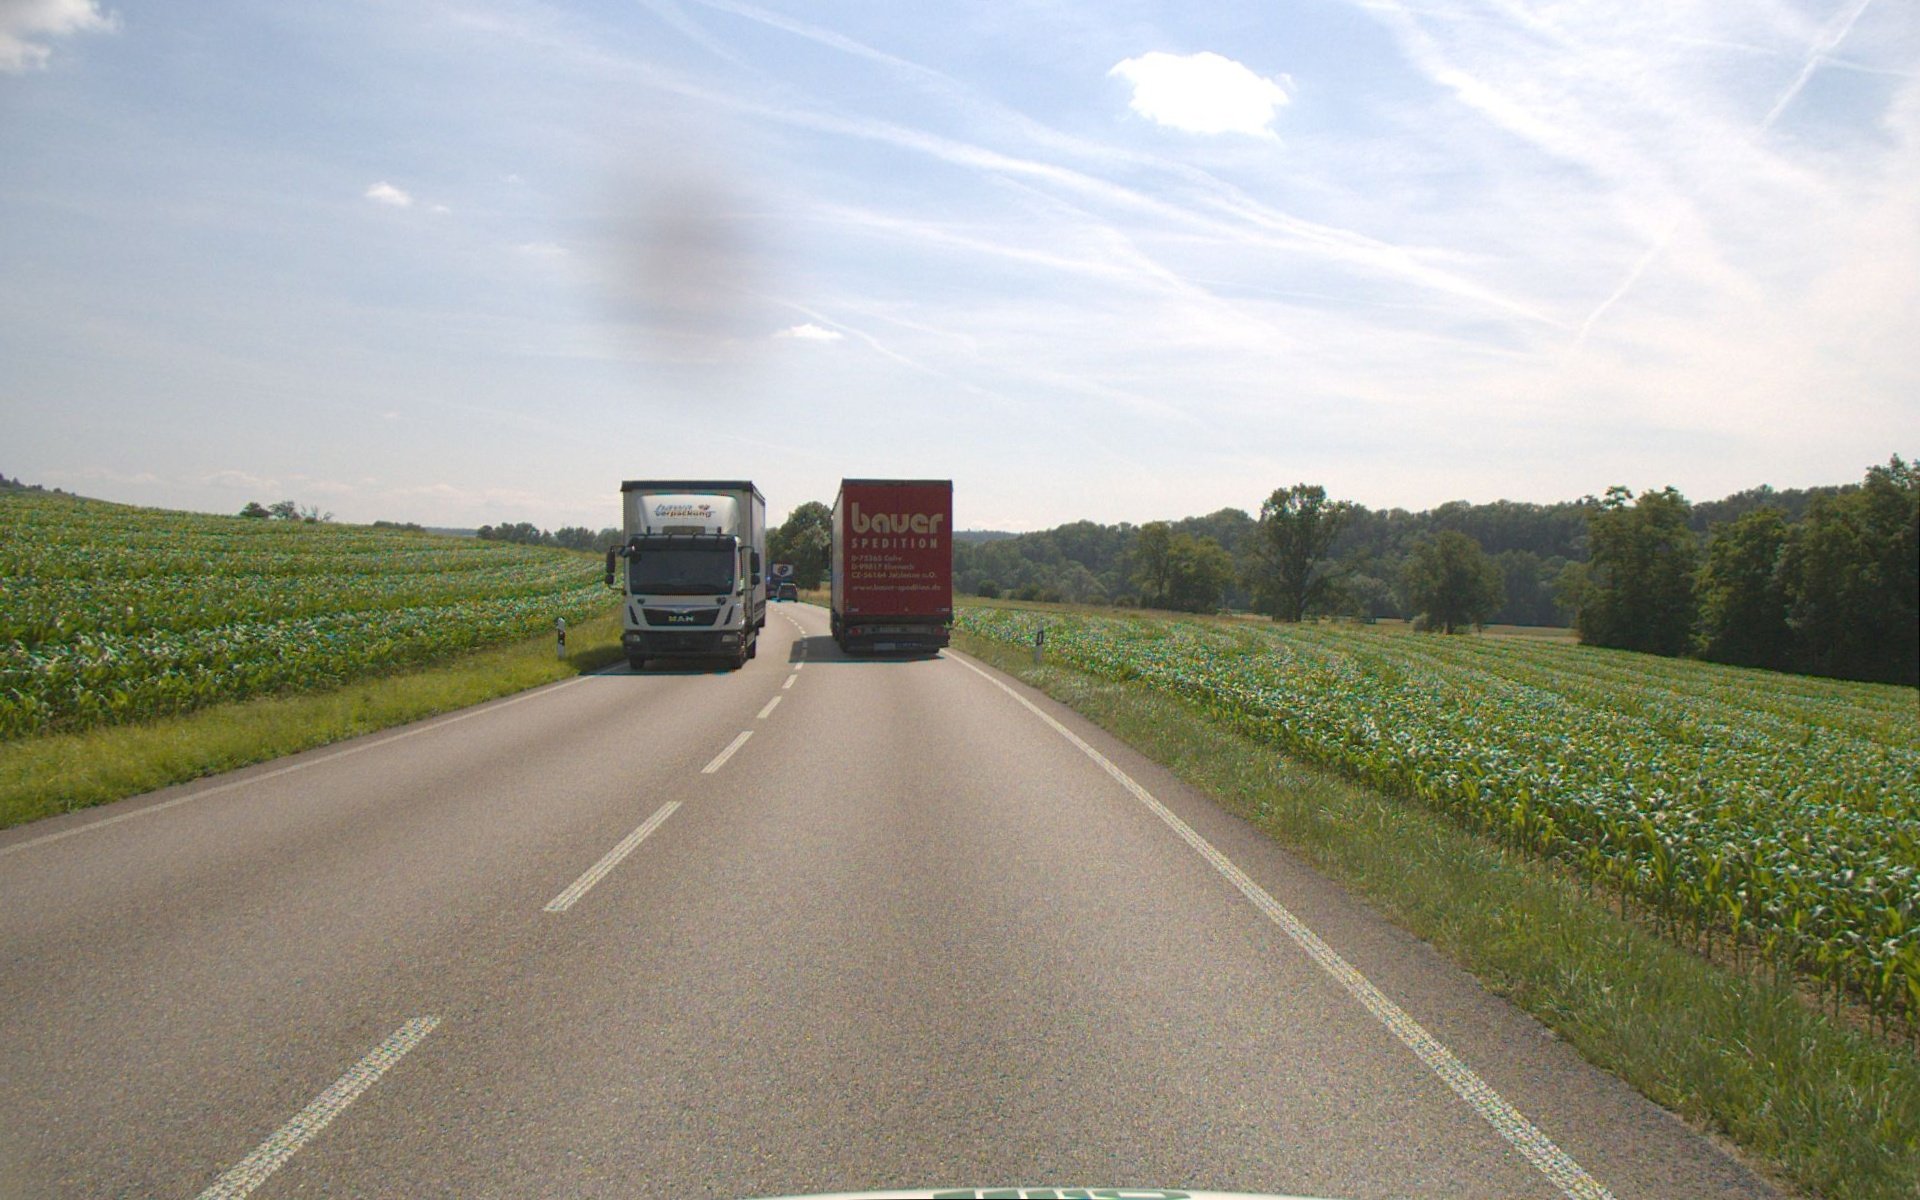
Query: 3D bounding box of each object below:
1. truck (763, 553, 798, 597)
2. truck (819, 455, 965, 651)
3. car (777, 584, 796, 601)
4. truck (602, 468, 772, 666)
[{"bbox_3d":[-18.958,-2.574,174.634,3.570,4.367,11.969,0,-1,-6],"label":"truck"},{"bbox_3d":[-1.856,-1.039,40.993,3.035,4.337,8.302,0,0,-7],"label":"truck"},{"bbox_3d":[-15.580,-0.687,148.264,1.552,1.527,3.870,0,0,-8],"label":"car"},{"bbox_3d":[-5.587,-0.634,35.403,2.687,3.641,9.718,0,0,-4],"label":"truck"}]
